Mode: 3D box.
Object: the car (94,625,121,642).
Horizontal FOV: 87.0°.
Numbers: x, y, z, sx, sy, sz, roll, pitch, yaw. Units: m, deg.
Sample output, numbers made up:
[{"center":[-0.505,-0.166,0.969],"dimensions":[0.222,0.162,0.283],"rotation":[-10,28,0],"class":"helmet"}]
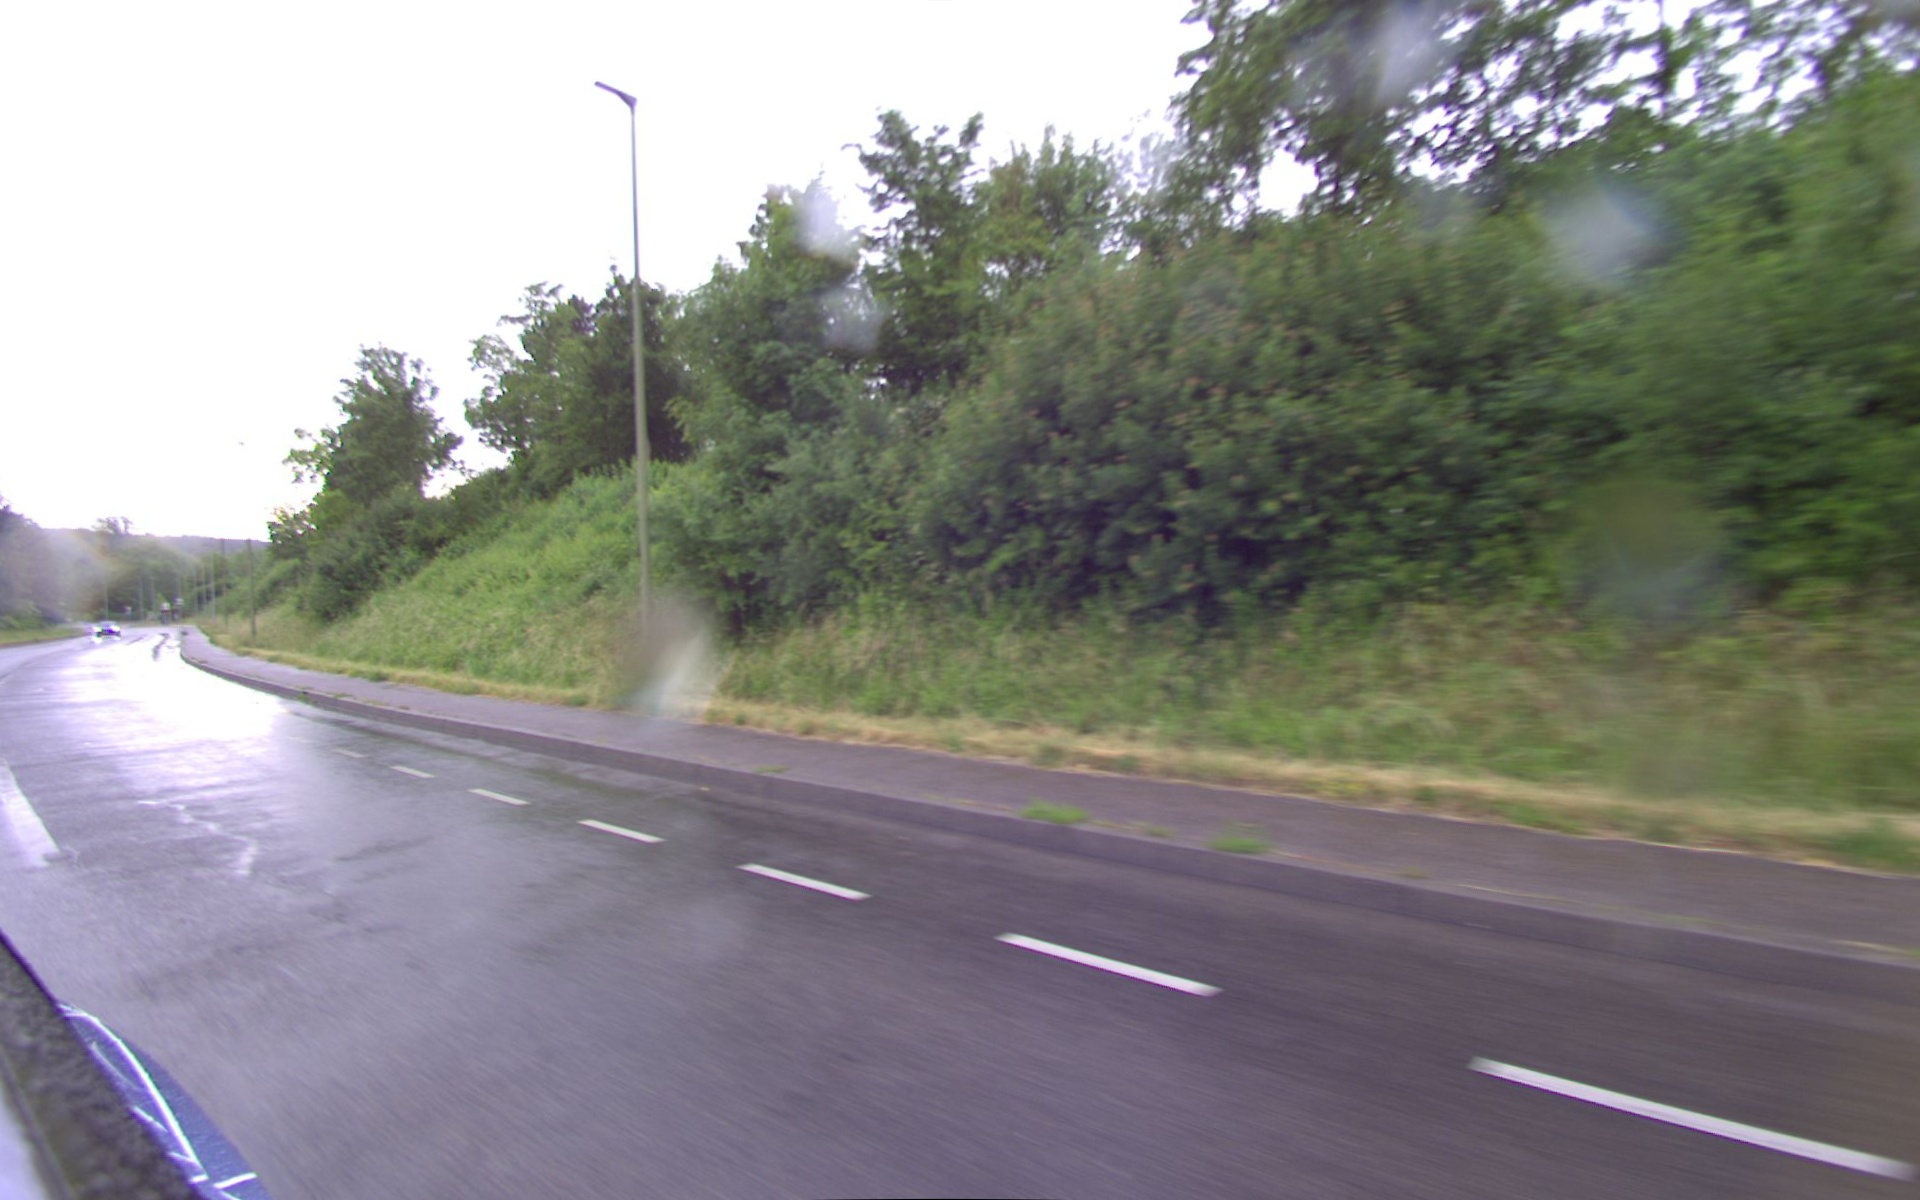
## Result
[{"center":[-82.846,3.219,98.364],"dimensions":[1.851,1.618,4.007],"rotation":[1,-2,-39],"class":"car"}]
